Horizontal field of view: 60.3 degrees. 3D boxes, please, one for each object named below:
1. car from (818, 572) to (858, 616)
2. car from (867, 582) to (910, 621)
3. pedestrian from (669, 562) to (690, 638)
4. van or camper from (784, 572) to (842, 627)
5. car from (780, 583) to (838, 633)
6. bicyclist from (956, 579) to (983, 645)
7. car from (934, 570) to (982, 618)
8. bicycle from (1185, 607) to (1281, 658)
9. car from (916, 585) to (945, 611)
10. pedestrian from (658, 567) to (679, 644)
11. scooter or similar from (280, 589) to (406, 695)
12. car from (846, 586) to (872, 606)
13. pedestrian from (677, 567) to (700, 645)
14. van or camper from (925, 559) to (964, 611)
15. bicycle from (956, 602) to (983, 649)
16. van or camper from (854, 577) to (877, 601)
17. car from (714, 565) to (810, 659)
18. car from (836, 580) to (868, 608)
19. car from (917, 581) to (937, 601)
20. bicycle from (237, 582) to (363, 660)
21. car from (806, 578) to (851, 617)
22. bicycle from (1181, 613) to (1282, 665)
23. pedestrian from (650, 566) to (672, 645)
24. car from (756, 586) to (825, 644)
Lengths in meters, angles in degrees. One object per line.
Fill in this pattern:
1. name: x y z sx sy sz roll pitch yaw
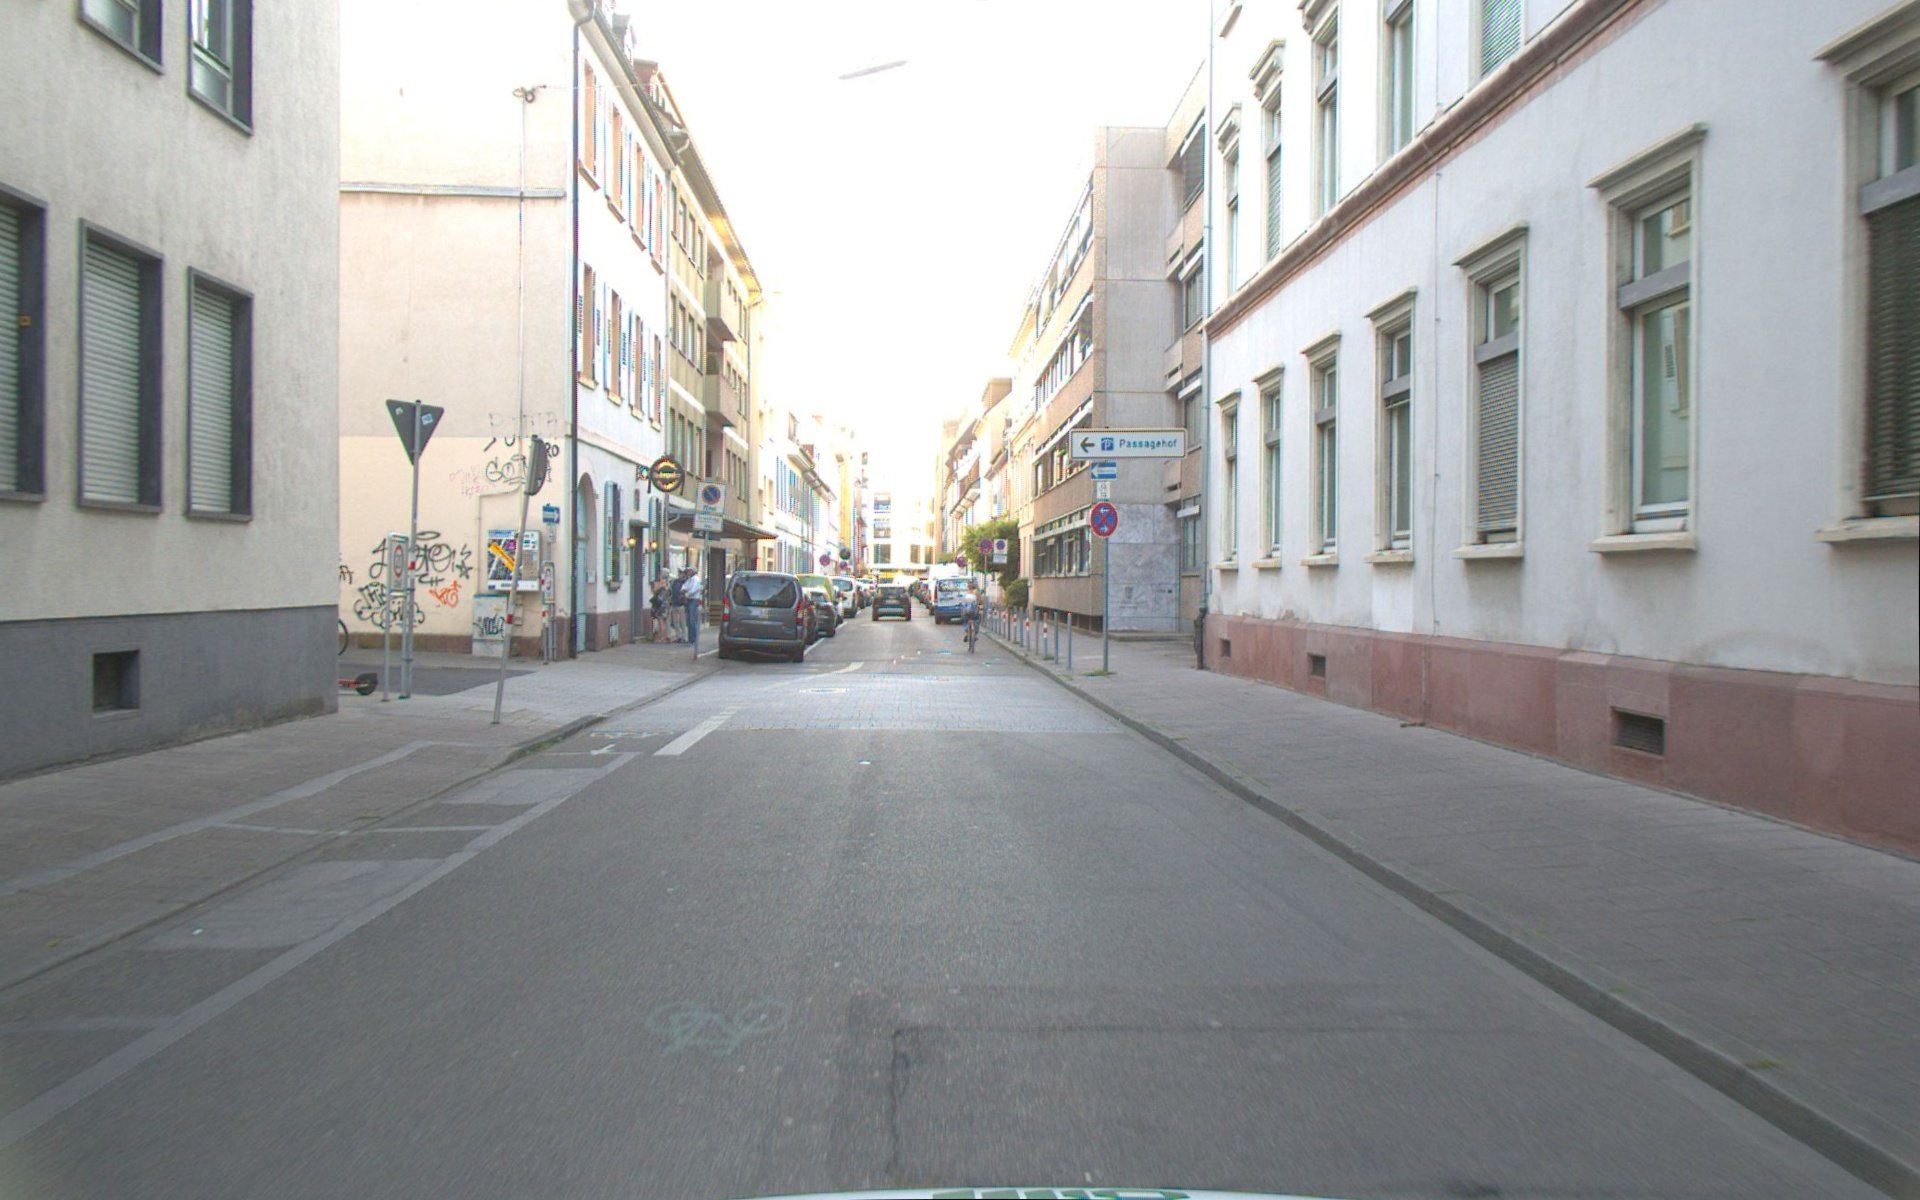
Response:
1. car: -5.882 -0.292 80.174 1.825 2.049 5.103 0 1 -3
2. car: -3.171 0.041 73.586 1.783 1.646 3.998 2 0 -2
3. pedestrian: -6.610 0.007 39.023 0.398 1.780 0.470 1 0 -1
4. van or camper: -5.146 -0.037 58.287 1.736 1.880 4.177 0 0 -1
5. car: -4.550 0.226 50.256 1.592 1.440 3.978 1 0 -3
6. bicyclist: 0.231 0.284 40.527 0.608 1.602 0.683 1 0 -1
7. car: -0.116 -0.255 69.355 1.897 1.931 5.275 0 1 -2
8. bicycle: 5.182 0.623 31.450 1.707 0.939 0.537 1 0 -9
9. car: -1.946 -0.131 108.983 1.782 1.556 5.070 -3 0 -1
10. pedestrian: -6.770 0.119 38.401 0.398 1.780 0.470 1 0 -1
11. scooter or similar: -7.570 0.513 20.284 1.345 1.222 0.528 4 -1 -26
12. car: -7.478 -0.304 122.332 1.880 1.459 4.290 2 0 -4
13. pedestrian: -6.265 0.128 38.180 0.440 1.780 0.470 1 0 -1
14. van or camper: -0.846 -0.806 89.352 2.008 2.683 7.061 0 1 -1
15. bicycle: 0.229 0.606 40.519 0.601 1.101 1.809 1 0 -1
16. van or camper: -8.253 -0.961 144.506 1.807 2.048 4.676 2 0 -2
17. car: -4.164 0.223 35.380 1.840 1.843 4.446 1 0 -5
18. car: -6.834 -0.396 104.605 1.766 1.706 4.489 0 0 -1
19. car: -2.773 -0.736 139.409 1.620 1.588 3.604 2 0 -2
20. bicycle: -10.910 0.341 27.345 1.885 1.238 0.628 1 0 13
21. car: -5.368 -0.107 67.700 1.629 1.474 3.519 4 0 -2
22. bicycle: 5.031 0.717 30.628 1.762 0.939 0.537 1 0 -10
23. pedestrian: -6.842 0.121 37.871 0.398 1.780 0.470 1 0 -1
24. car: -4.602 0.384 45.282 1.591 1.511 3.876 0 0 -2
